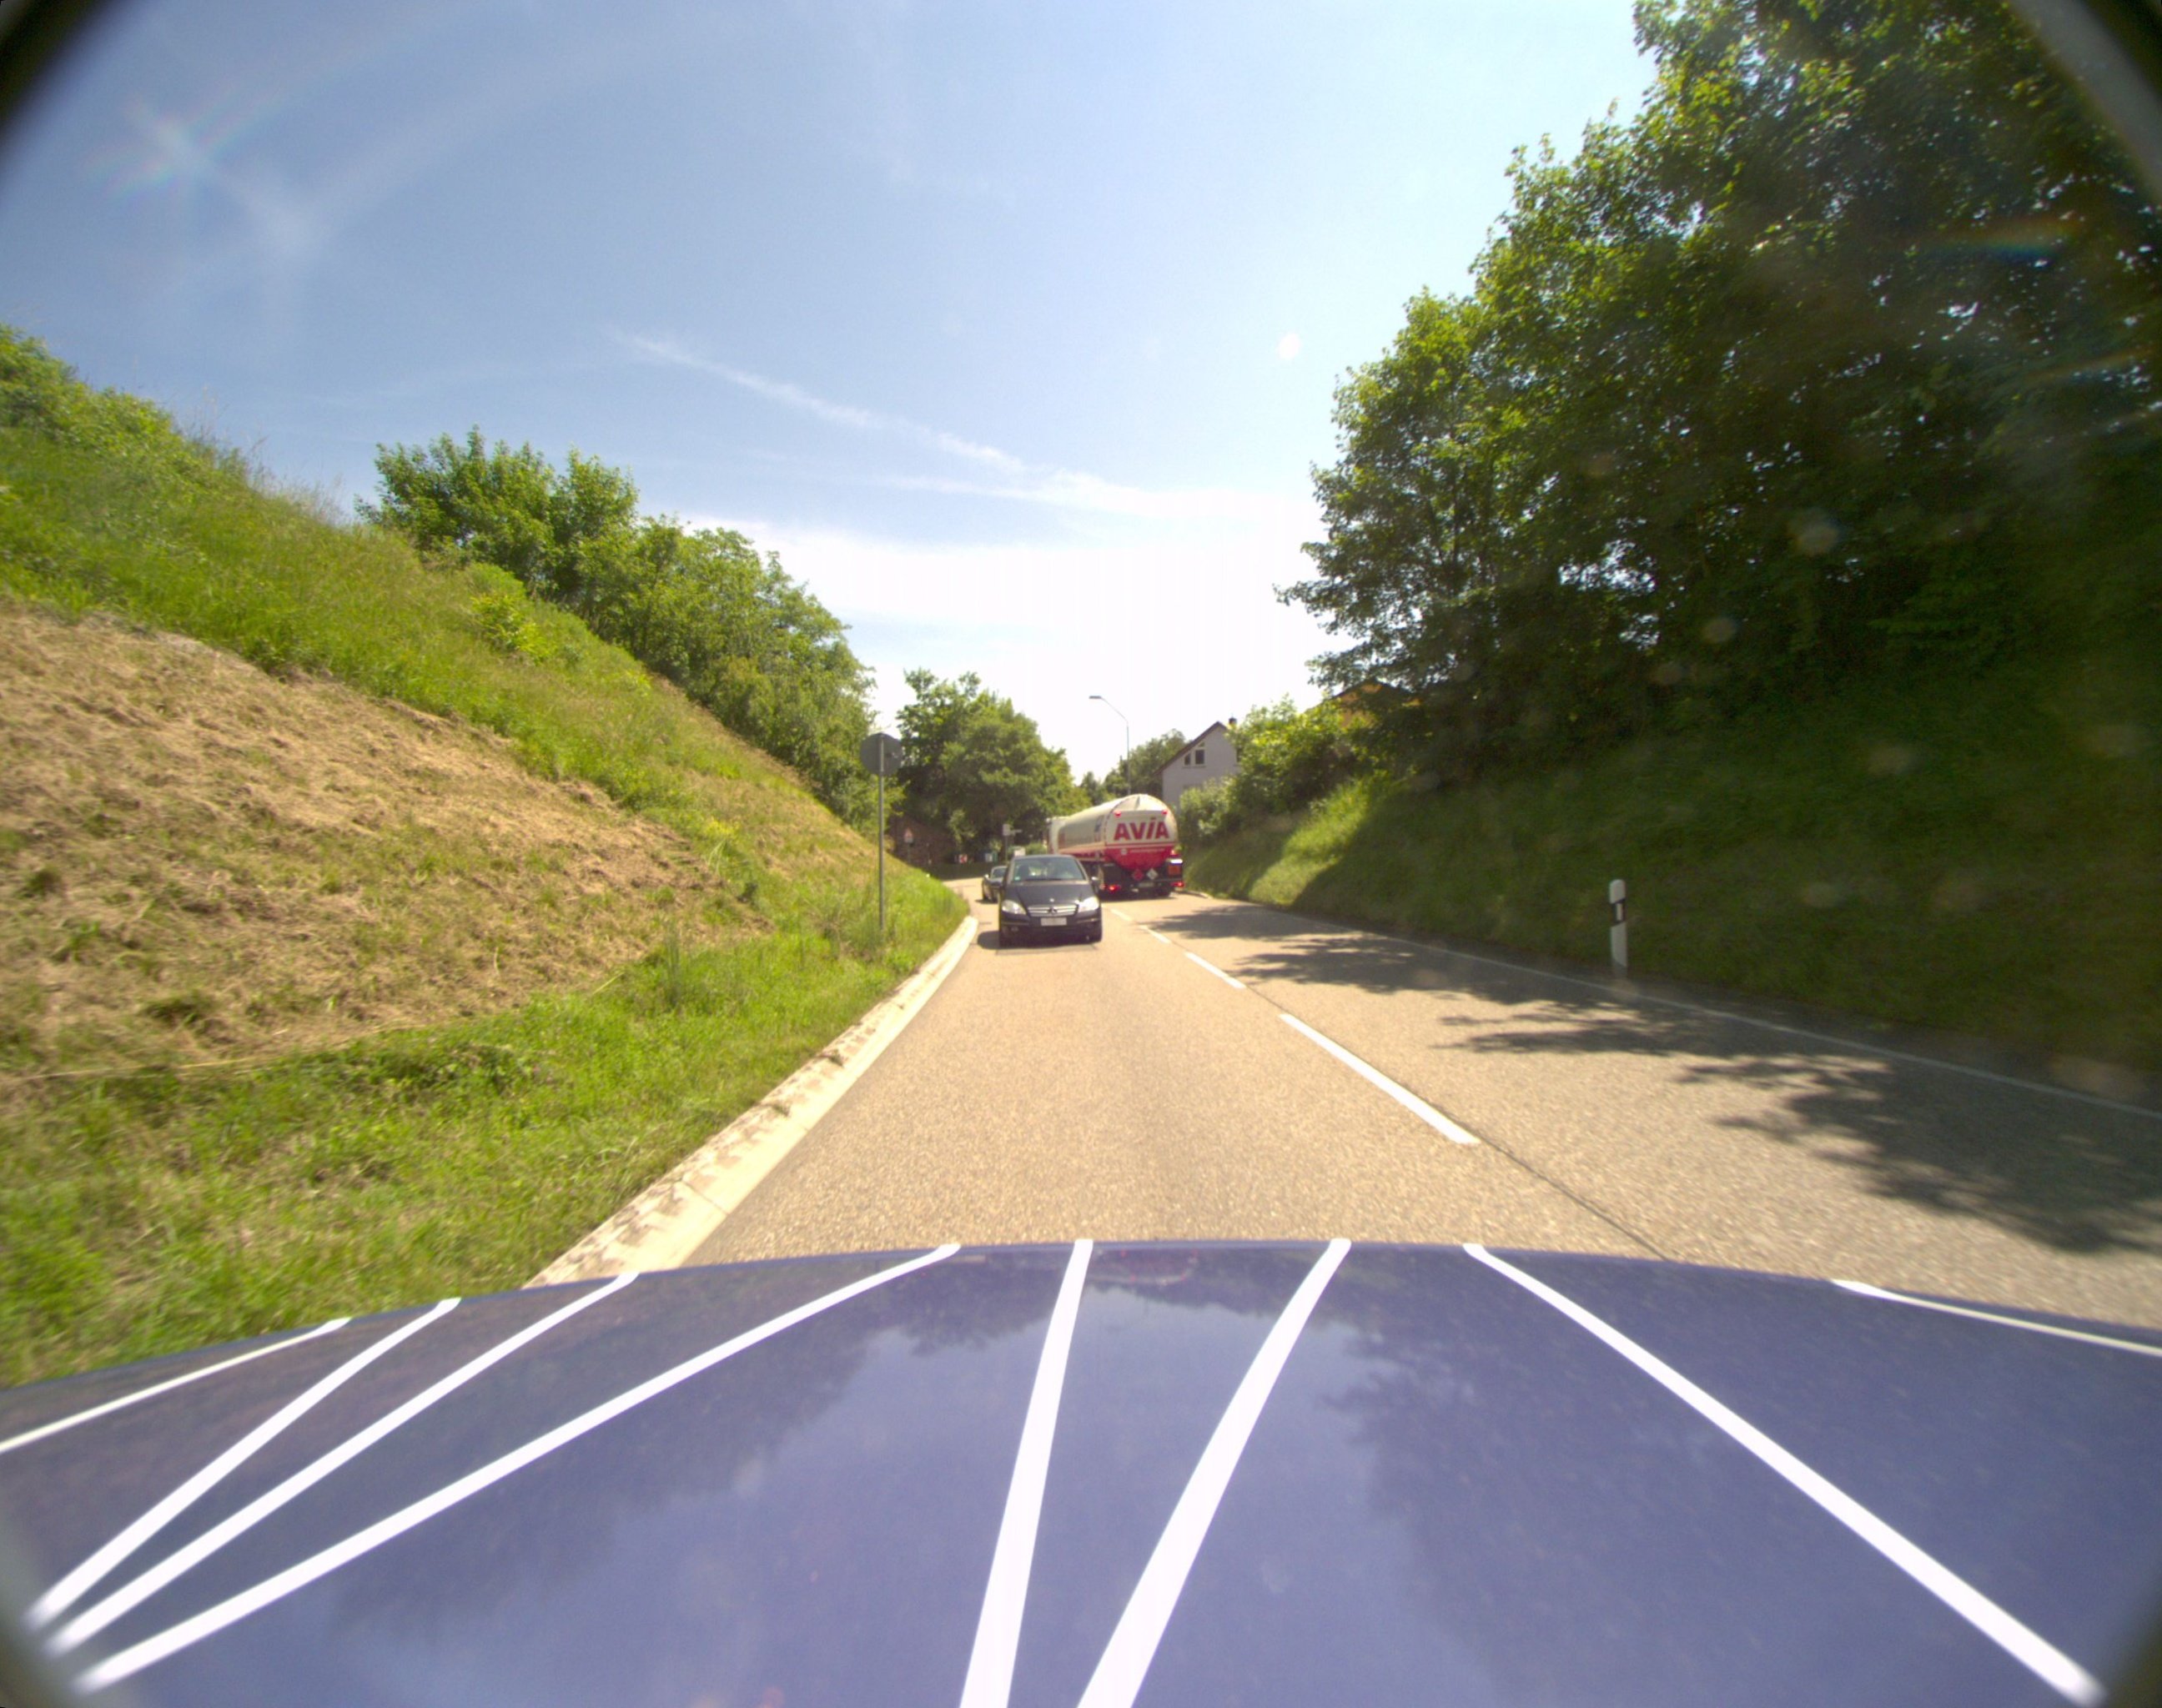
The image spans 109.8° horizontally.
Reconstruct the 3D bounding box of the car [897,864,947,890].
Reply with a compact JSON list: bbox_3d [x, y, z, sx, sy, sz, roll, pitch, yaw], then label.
[{"bbox_3d":[-9.720,1.356,46.165,1.759,1.281,4.135,-4,3,-29],"label":"car"}]

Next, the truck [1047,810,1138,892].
[{"bbox_3d":[0.315,-0.141,33.617,2.635,3.152,7.061,-2,1,-10],"label":"truck"}]

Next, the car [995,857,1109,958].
[{"bbox_3d":[-0.633,0.885,14.361,1.796,1.570,3.798,-3,0,-5],"label":"car"}]

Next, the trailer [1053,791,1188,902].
[{"bbox_3d":[1.040,-0.281,28.997,2.642,3.353,11.131,-2,1,-10],"label":"trailer"}]

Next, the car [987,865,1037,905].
[{"bbox_3d":[-2.465,1.072,27.193,1.648,1.314,3.437,1,-1,-5],"label":"car"}]
